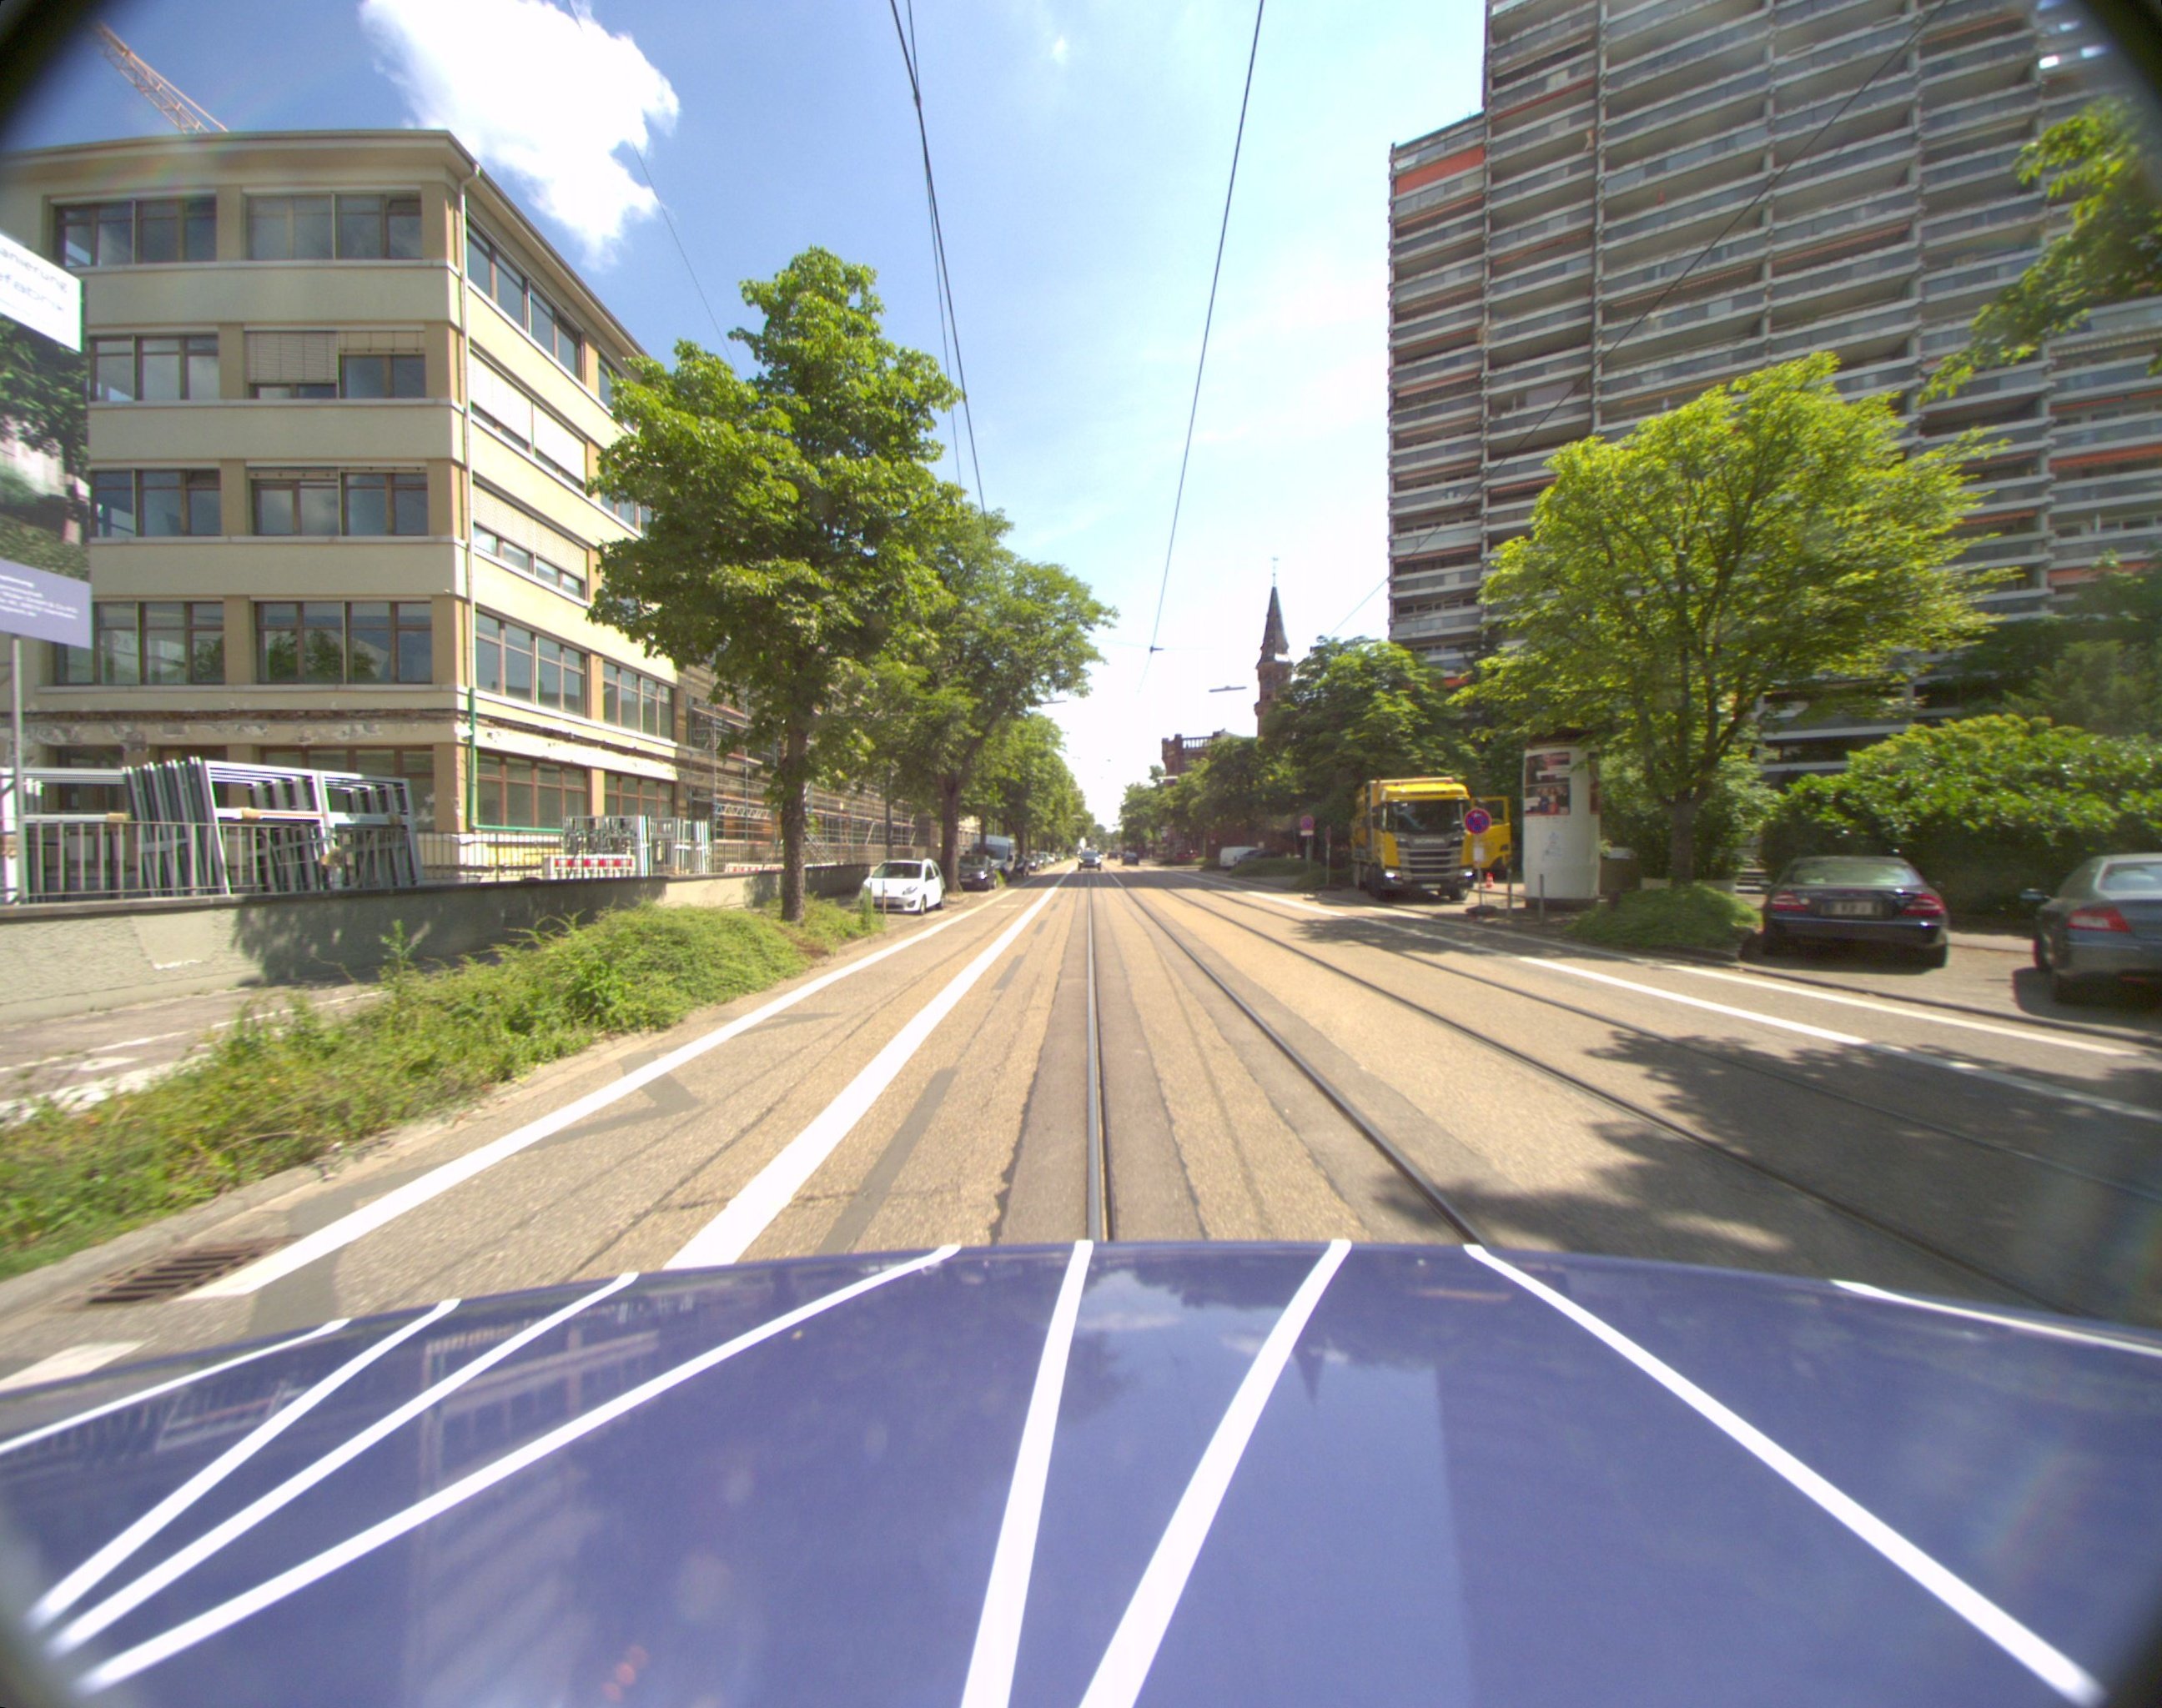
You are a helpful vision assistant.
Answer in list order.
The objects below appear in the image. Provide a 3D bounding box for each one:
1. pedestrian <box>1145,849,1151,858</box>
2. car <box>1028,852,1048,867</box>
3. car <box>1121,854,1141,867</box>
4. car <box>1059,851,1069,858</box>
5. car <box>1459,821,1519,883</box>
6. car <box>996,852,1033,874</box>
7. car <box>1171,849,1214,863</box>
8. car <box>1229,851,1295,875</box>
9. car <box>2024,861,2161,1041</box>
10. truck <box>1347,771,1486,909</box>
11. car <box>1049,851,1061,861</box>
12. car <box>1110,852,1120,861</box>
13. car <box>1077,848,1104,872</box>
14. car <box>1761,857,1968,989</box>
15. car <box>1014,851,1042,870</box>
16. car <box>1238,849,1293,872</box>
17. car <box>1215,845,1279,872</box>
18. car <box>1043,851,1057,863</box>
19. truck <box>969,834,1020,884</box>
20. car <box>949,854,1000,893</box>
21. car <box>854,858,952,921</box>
[{"bbox_3d":[12.641,-0.070,143.415,0.801,1.579,0.919,-3,1,0],"label":"pedestrian"},{"bbox_3d":[-4.100,0.487,72.178,1.675,1.429,4.041,0,0,0],"label":"car"},{"bbox_3d":[5.611,0.708,85.445,1.779,1.389,4.286,-1,0,-1],"label":"car"},{"bbox_3d":[-3.198,0.120,145.480,1.756,1.263,3.833,-2,0,1],"label":"car"},{"bbox_3d":[18.925,-0.195,35.065,2.179,2.551,6.735,0,2,31],"label":"car"},{"bbox_3d":[-4.409,0.570,51.015,1.828,1.463,4.401,0,0,3],"label":"car"},{"bbox_3d":[13.112,0.195,89.145,4.787,1.557,1.997,-1,1,-28],"label":"car"},{"bbox_3d":[11.899,0.582,49.777,4.455,1.386,1.768,-2,0,-38],"label":"car"},{"bbox_3d":[10.950,0.845,7.528,4.212,1.498,1.869,0,1,-40],"label":"car"},{"bbox_3d":[11.356,-0.494,26.889,2.719,3.820,10.974,-2,1,15],"label":"truck"},{"bbox_3d":[-3.932,0.222,114.598,1.675,1.481,3.980,0,0,0],"label":"car"},{"bbox_3d":[6.543,0.461,145.851,1.835,1.671,4.184,0,0,1],"label":"car"},{"bbox_3d":[0.752,0.444,60.176,1.998,1.731,4.226,-2,0,0],"label":"car"},{"bbox_3d":[10.916,0.813,10.777,1.757,1.498,3.717,2,1,44],"label":"car"},{"bbox_3d":[-4.241,0.489,61.897,1.829,1.463,4.486,0,0,2],"label":"car"},{"bbox_3d":[13.065,0.462,53.796,3.958,1.523,1.767,-2,1,-41],"label":"car"},{"bbox_3d":[12.389,0.324,56.549,4.556,1.781,1.896,-2,1,-32],"label":"car"},{"bbox_3d":[-3.907,0.393,94.704,1.676,1.490,4.364,0,0,-3],"label":"car"},{"bbox_3d":[-4.500,0.241,40.463,2.019,2.474,5.955,0,0,0],"label":"truck"},{"bbox_3d":[-4.524,0.792,32.759,1.648,1.525,3.946,0,0,0],"label":"car"},{"bbox_3d":[-4.740,0.881,20.707,1.648,1.525,3.785,0,0,2],"label":"car"}]
